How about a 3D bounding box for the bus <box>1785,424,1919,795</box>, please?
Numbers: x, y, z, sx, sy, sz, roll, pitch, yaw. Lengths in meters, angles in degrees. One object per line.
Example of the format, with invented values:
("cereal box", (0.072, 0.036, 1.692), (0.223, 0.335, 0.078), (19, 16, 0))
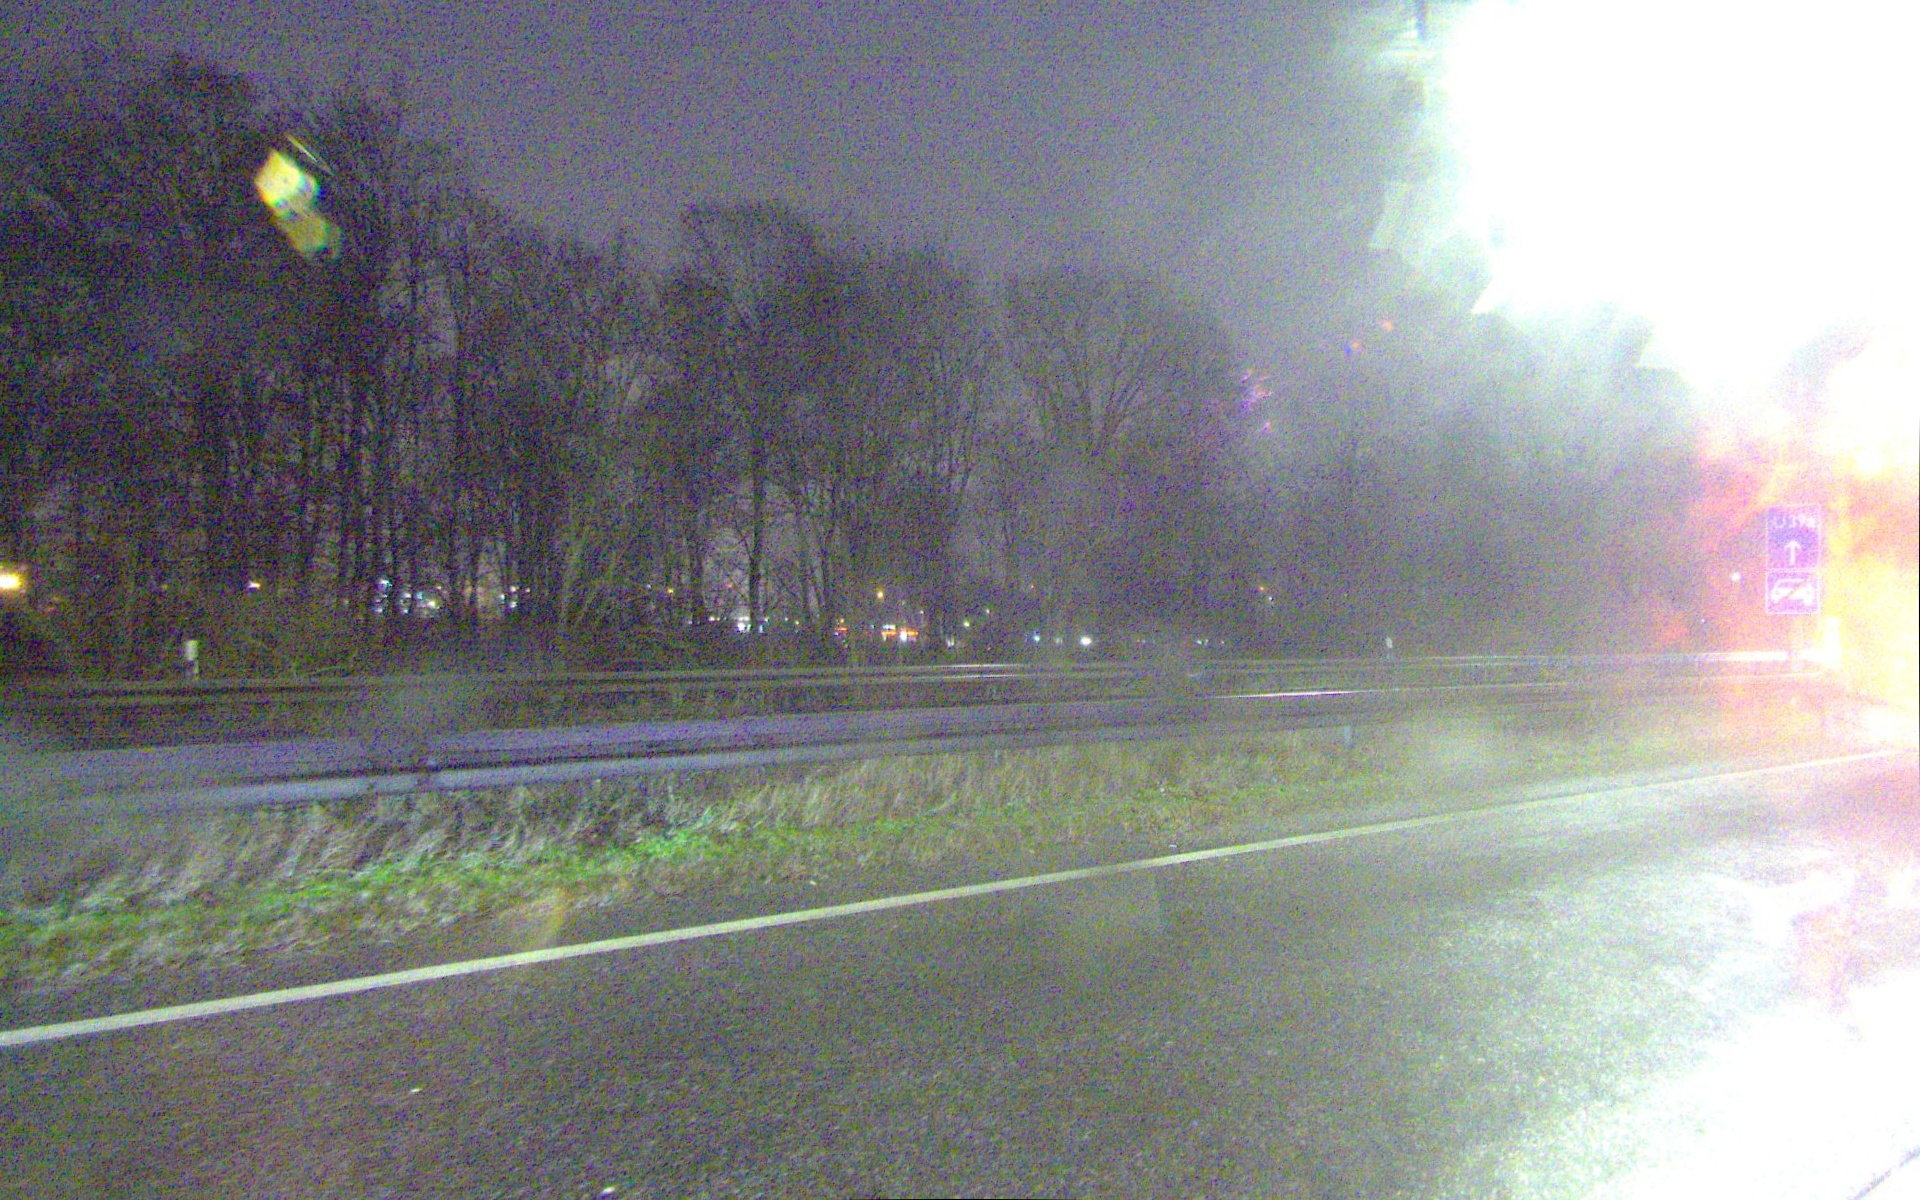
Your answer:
("bus", (11.804, 0.149, 10.168), (8.591, 3.064, 2.800), (1, 0, -32))
